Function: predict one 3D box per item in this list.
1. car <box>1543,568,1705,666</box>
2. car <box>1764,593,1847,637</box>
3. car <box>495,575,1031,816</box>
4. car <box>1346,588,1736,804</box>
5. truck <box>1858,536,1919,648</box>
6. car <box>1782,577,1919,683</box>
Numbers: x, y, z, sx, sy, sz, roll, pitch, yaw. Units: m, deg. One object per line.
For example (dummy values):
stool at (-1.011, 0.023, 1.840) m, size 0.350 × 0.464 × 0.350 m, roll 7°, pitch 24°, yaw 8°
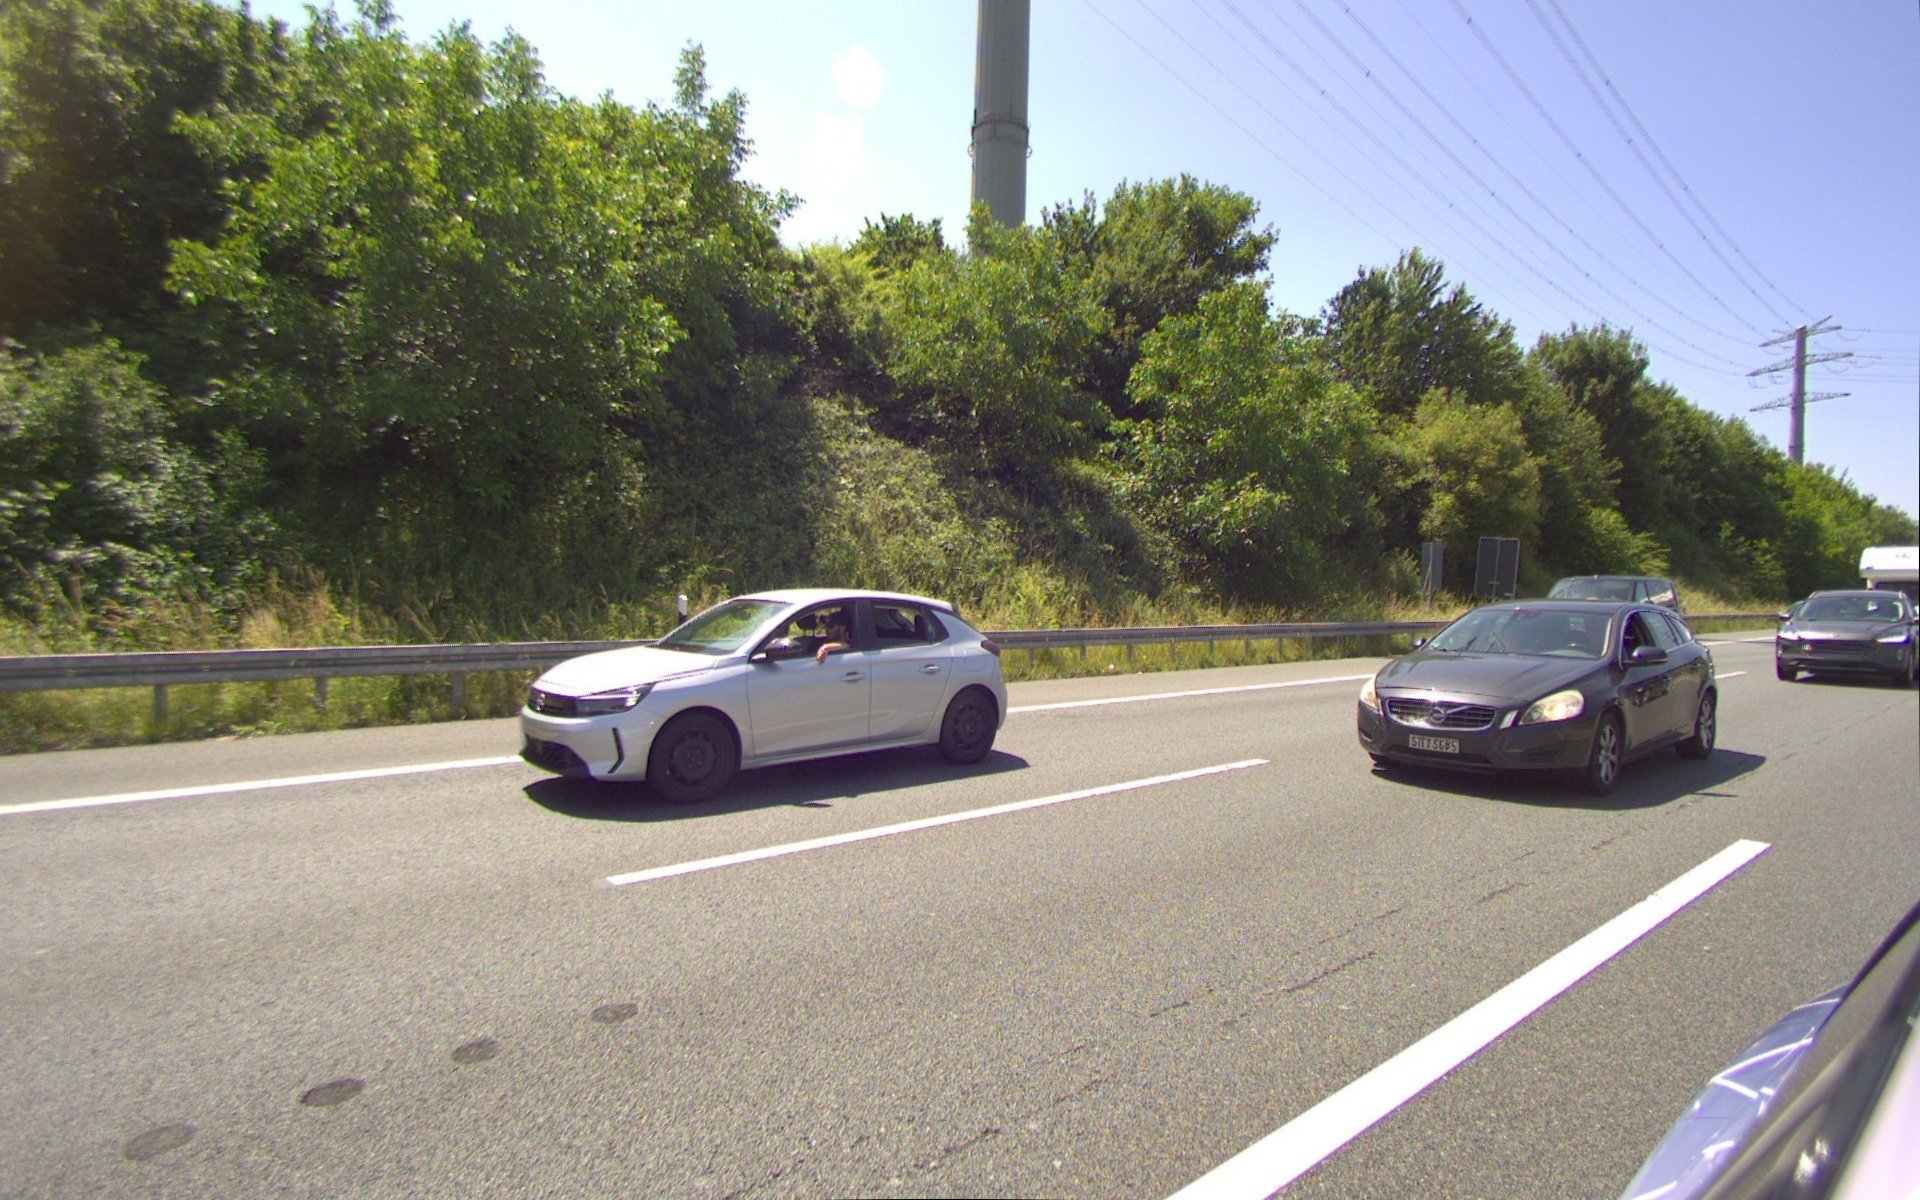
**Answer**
car at (14.551, 0.314, 22.081) m, size 4.616 × 1.928 × 1.787 m, roll 0°, pitch 0°, yaw -41°
car at (30.002, 0.493, 35.883) m, size 3.667 × 1.455 × 1.798 m, roll 0°, pitch 1°, yaw -42°
car at (-1.432, 0.577, 8.206) m, size 3.943 × 1.488 × 1.744 m, roll 0°, pitch 0°, yaw -41°
car at (5.238, 0.624, 8.885) m, size 4.158 × 1.455 × 1.798 m, roll 0°, pitch 1°, yaw -42°
truck at (29.878, -0.234, 30.714) m, size 9.721 × 3.053 × 2.513 m, roll 0°, pitch 0°, yaw -40°
car at (16.738, 0.469, 18.622) m, size 4.309 × 1.724 × 1.890 m, roll 0°, pitch 1°, yaw -42°
